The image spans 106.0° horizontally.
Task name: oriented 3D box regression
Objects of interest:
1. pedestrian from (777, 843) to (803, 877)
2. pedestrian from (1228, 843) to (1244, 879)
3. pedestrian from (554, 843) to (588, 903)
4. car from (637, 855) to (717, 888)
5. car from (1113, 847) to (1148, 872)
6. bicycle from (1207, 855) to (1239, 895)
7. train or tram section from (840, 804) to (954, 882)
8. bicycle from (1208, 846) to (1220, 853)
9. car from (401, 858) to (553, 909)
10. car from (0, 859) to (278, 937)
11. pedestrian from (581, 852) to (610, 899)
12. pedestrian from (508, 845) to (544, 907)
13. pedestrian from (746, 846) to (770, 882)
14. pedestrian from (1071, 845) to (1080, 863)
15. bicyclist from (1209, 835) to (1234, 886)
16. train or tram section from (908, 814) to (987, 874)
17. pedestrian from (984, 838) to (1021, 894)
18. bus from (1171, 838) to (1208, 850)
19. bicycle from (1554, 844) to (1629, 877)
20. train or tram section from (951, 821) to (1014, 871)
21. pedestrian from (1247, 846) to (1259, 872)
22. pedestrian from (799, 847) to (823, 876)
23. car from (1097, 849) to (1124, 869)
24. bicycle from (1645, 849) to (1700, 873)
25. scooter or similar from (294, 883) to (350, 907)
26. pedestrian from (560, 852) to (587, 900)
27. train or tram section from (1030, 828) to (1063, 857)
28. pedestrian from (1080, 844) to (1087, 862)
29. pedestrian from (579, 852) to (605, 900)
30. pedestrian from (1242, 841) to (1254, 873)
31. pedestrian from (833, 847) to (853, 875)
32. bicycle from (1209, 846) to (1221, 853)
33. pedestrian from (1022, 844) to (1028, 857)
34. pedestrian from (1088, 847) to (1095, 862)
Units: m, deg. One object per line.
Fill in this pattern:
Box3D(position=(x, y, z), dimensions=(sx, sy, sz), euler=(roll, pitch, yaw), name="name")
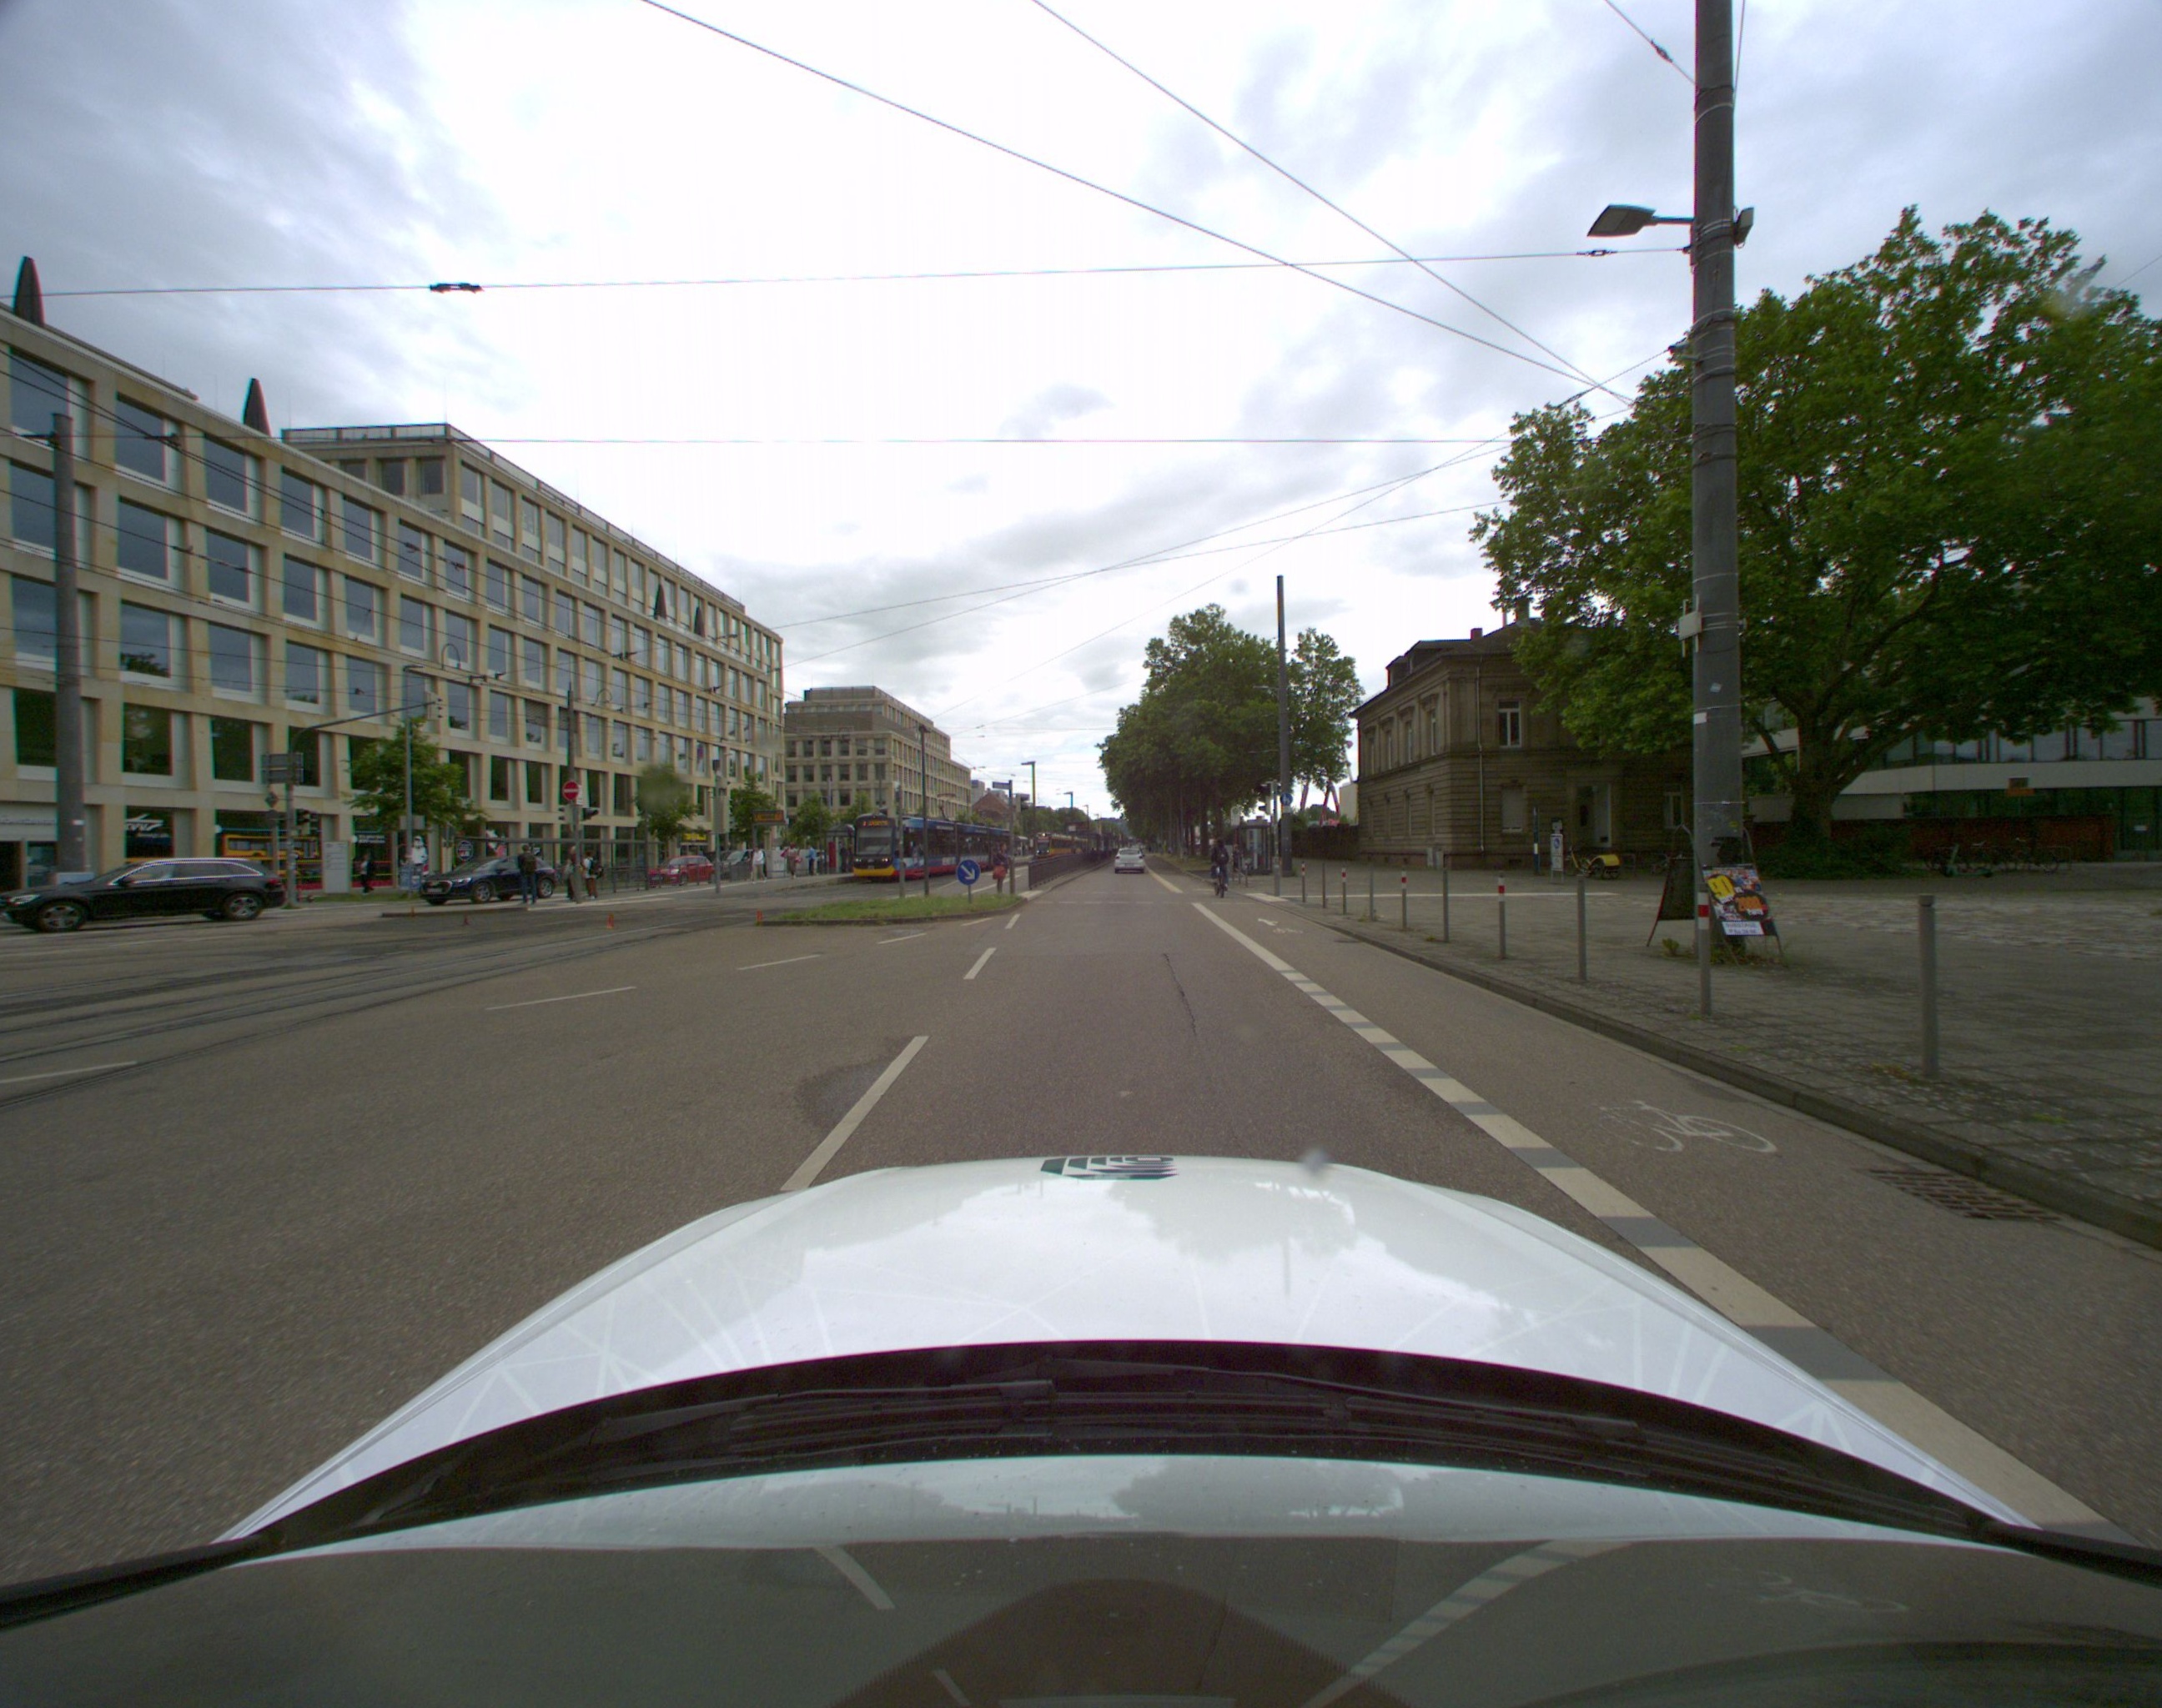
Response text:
Box3D(position=(-14.134, 0.295, 39.603), dimensions=(0.904, 1.585, 0.848), euler=(-1, -1, 2), name="pedestrian")
Box3D(position=(6.609, 0.288, 34.676), dimensions=(0.547, 1.528, 0.642), euler=(-2, -1, 21), name="pedestrian")
Box3D(position=(-16.225, 0.607, 25.919), dimensions=(0.858, 1.868, 0.740), euler=(-1, -1, -31), name="pedestrian")
Box3D(position=(-19.084, 0.791, 38.680), dimensions=(1.731, 1.449, 3.772), euler=(-1, 0, 3), name="car")
Box3D(position=(3.028, 0.321, 49.293), dimensions=(1.875, 1.453, 4.007), euler=(-1, 0, 7), name="car")
Box3D(position=(4.310, 0.620, 24.917), dimensions=(0.650, 1.150, 2.284), euler=(-1, 0, 2), name="bicycle")
Box3D(position=(-9.642, -0.514, 44.501), dimensions=(2.842, 3.640, 11.775), euler=(-1, 0, 3), name="train or tram section")
Box3D(position=(22.135, -0.771, 135.340), dimensions=(1.882, 1.105, 0.550), euler=(-3, 0, 2), name="bicycle")
Box3D(position=(-20.412, 0.948, 27.795), dimensions=(1.731, 1.494, 4.370), euler=(-1, 0, 3), name="car")
Box3D(position=(-23.081, 0.994, 20.103), dimensions=(1.722, 1.599, 4.349), euler=(-1, 0, 33), name="car")
Box3D(position=(-16.929, 0.728, 28.423), dimensions=(0.716, 1.598, 0.704), euler=(-1, -1, -19), name="pedestrian")
Box3D(position=(-17.252, 0.676, 25.342), dimensions=(0.858, 1.868, 0.740), euler=(-1, -1, -31), name="pedestrian")
Box3D(position=(-14.468, 0.446, 36.481), dimensions=(0.705, 1.585, 0.766), euler=(-1, -1, 2), name="pedestrian")
Box3D(position=(-0.549, 0.000, 81.919), dimensions=(0.670, 1.793, 1.109), euler=(-1, -1, -9), name="pedestrian")
Box3D(position=(4.303, 0.198, 25.025), dimensions=(0.638, 1.531, 0.665), euler=(-1, -1, 2), name="bicyclist")
Box3D(position=(-8.927, -0.579, 56.194), dimensions=(2.842, 3.640, 11.710), euler=(-1, 0, 3), name="train or tram section")
Box3D(position=(-2.369, 0.355, 24.543), dimensions=(0.865, 1.643, 0.645), euler=(-1, -1, -38), name="pedestrian")
Box3D(position=(28.415, -2.593, 213.173), dimensions=(9.243, 2.960, 2.001), euler=(-1, -1, 1), name="bus")
Box3D(position=(19.499, 0.199, 31.236), dimensions=(0.897, 1.068, 3.409), euler=(-1, 3, 2), name="bicycle")
Box3D(position=(-8.045, -0.588, 68.795), dimensions=(2.842, 3.692, 13.532), euler=(-1, 0, 3), name="train or tram section")
Box3D(position=(8.410, 0.242, 39.876), dimensions=(0.474, 1.234, 0.703), euler=(-1, -1, 3), name="pedestrian")
Box3D(position=(-14.884, 0.403, 44.852), dimensions=(0.839, 1.585, 0.915), euler=(-2, -1, 17), name="pedestrian")
Box3D(position=(2.297, 0.365, 63.496), dimensions=(1.832, 1.552, 4.006), euler=(-1, 0, 6), name="car")
Box3D(position=(22.356, 0.255, 30.835), dimensions=(0.607, 0.872, 2.083), euler=(-1, 0, 2), name="bicycle")
Box3D(position=(-27.900, 1.486, 29.948), dimensions=(1.476, 0.849, 0.695), euler=(0, 0, 6), name="scooter or similar")
Box3D(position=(-16.939, 0.727, 27.190), dimensions=(0.707, 1.598, 0.528), euler=(-2, -1, 38), name="pedestrian")
Box3D(position=(-4.747, -1.524, 114.502), dimensions=(3.222, 3.862, 11.325), euler=(-1, 0, 4), name="train or tram section")
Box3D(position=(0.254, -0.066, 82.764), dimensions=(0.669, 1.793, 1.111), euler=(-1, -1, -5), name="pedestrian")
Box3D(position=(-16.600, 0.752, 27.634), dimensions=(0.707, 1.598, 0.528), euler=(-2, -1, 38), name="pedestrian")
Box3D(position=(8.430, 0.145, 41.122), dimensions=(0.474, 1.563, 0.703), euler=(-1, -1, 3), name="pedestrian")
Box3D(position=(-13.950, 0.395, 47.700), dimensions=(0.843, 1.585, 0.910), euler=(-1, -1, -1), name="pedestrian")
Box3D(position=(22.327, -0.786, 136.078), dimensions=(1.893, 1.097, 0.550), euler=(-3, 0, 2), name="bicycle")
Box3D(position=(-7.820, -0.420, 114.179), dimensions=(0.708, 1.795, 1.161), euler=(-1, -1, 3), name="pedestrian")
Box3D(position=(0.982, 0.064, 74.678), dimensions=(0.607, 1.341, 0.601), euler=(-1, -1, 4), name="pedestrian")
